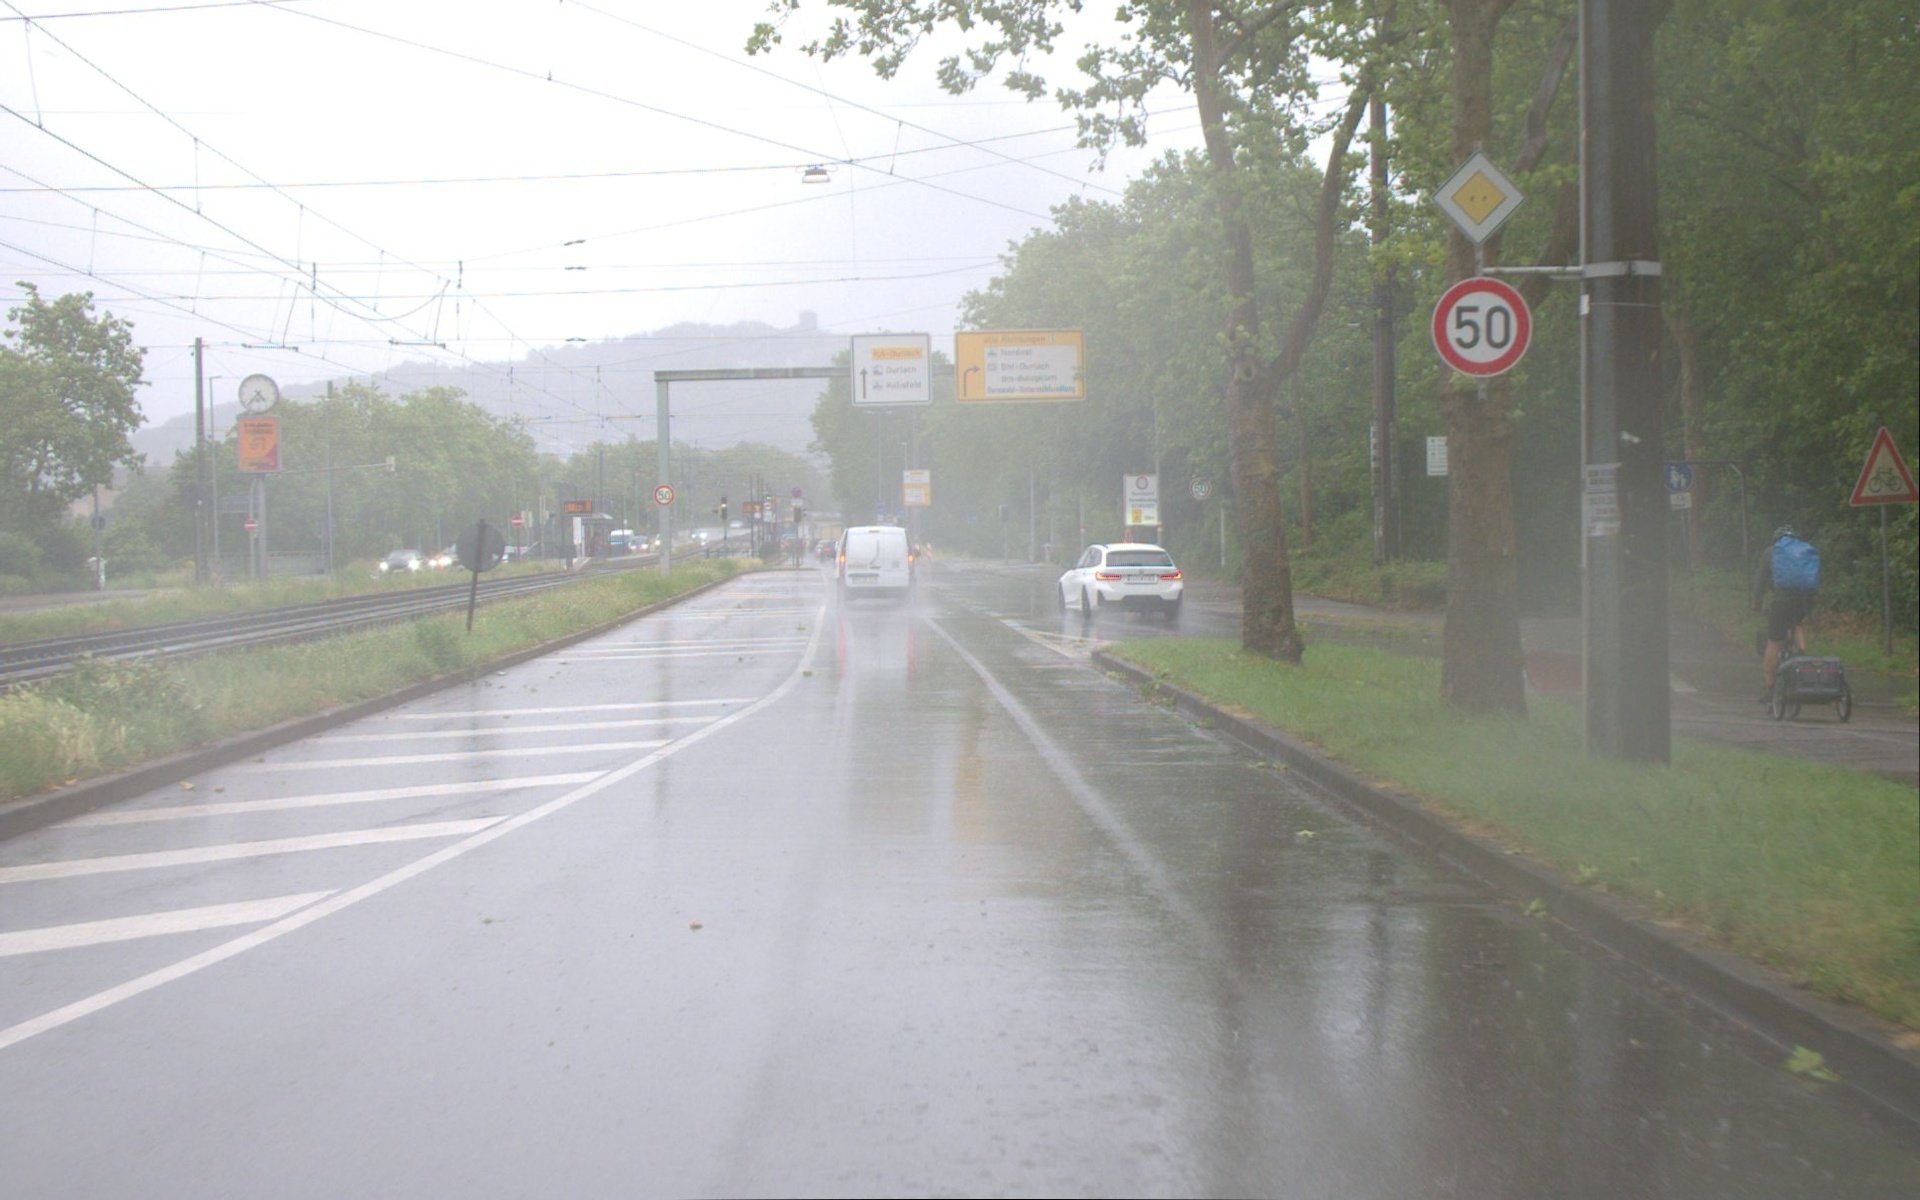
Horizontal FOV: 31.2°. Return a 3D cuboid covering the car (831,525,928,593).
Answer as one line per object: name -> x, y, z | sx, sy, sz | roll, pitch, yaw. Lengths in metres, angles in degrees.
car -> -1.828, -0.934, 77.092 | 2.077, 1.415, 4.000 | -2, 1, -2

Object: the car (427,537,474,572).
car -> -24.421, -2.176, 164.904 | 1.943, 1.610, 4.990 | -1, 1, -6

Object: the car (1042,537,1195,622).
car -> 2.942, -0.417, 64.850 | 1.948, 1.531, 4.468 | -1, 1, -10

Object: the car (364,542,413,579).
car -> -27.493, -1.922, 165.546 | 1.943, 1.680, 4.781 | -1, 1, -5
